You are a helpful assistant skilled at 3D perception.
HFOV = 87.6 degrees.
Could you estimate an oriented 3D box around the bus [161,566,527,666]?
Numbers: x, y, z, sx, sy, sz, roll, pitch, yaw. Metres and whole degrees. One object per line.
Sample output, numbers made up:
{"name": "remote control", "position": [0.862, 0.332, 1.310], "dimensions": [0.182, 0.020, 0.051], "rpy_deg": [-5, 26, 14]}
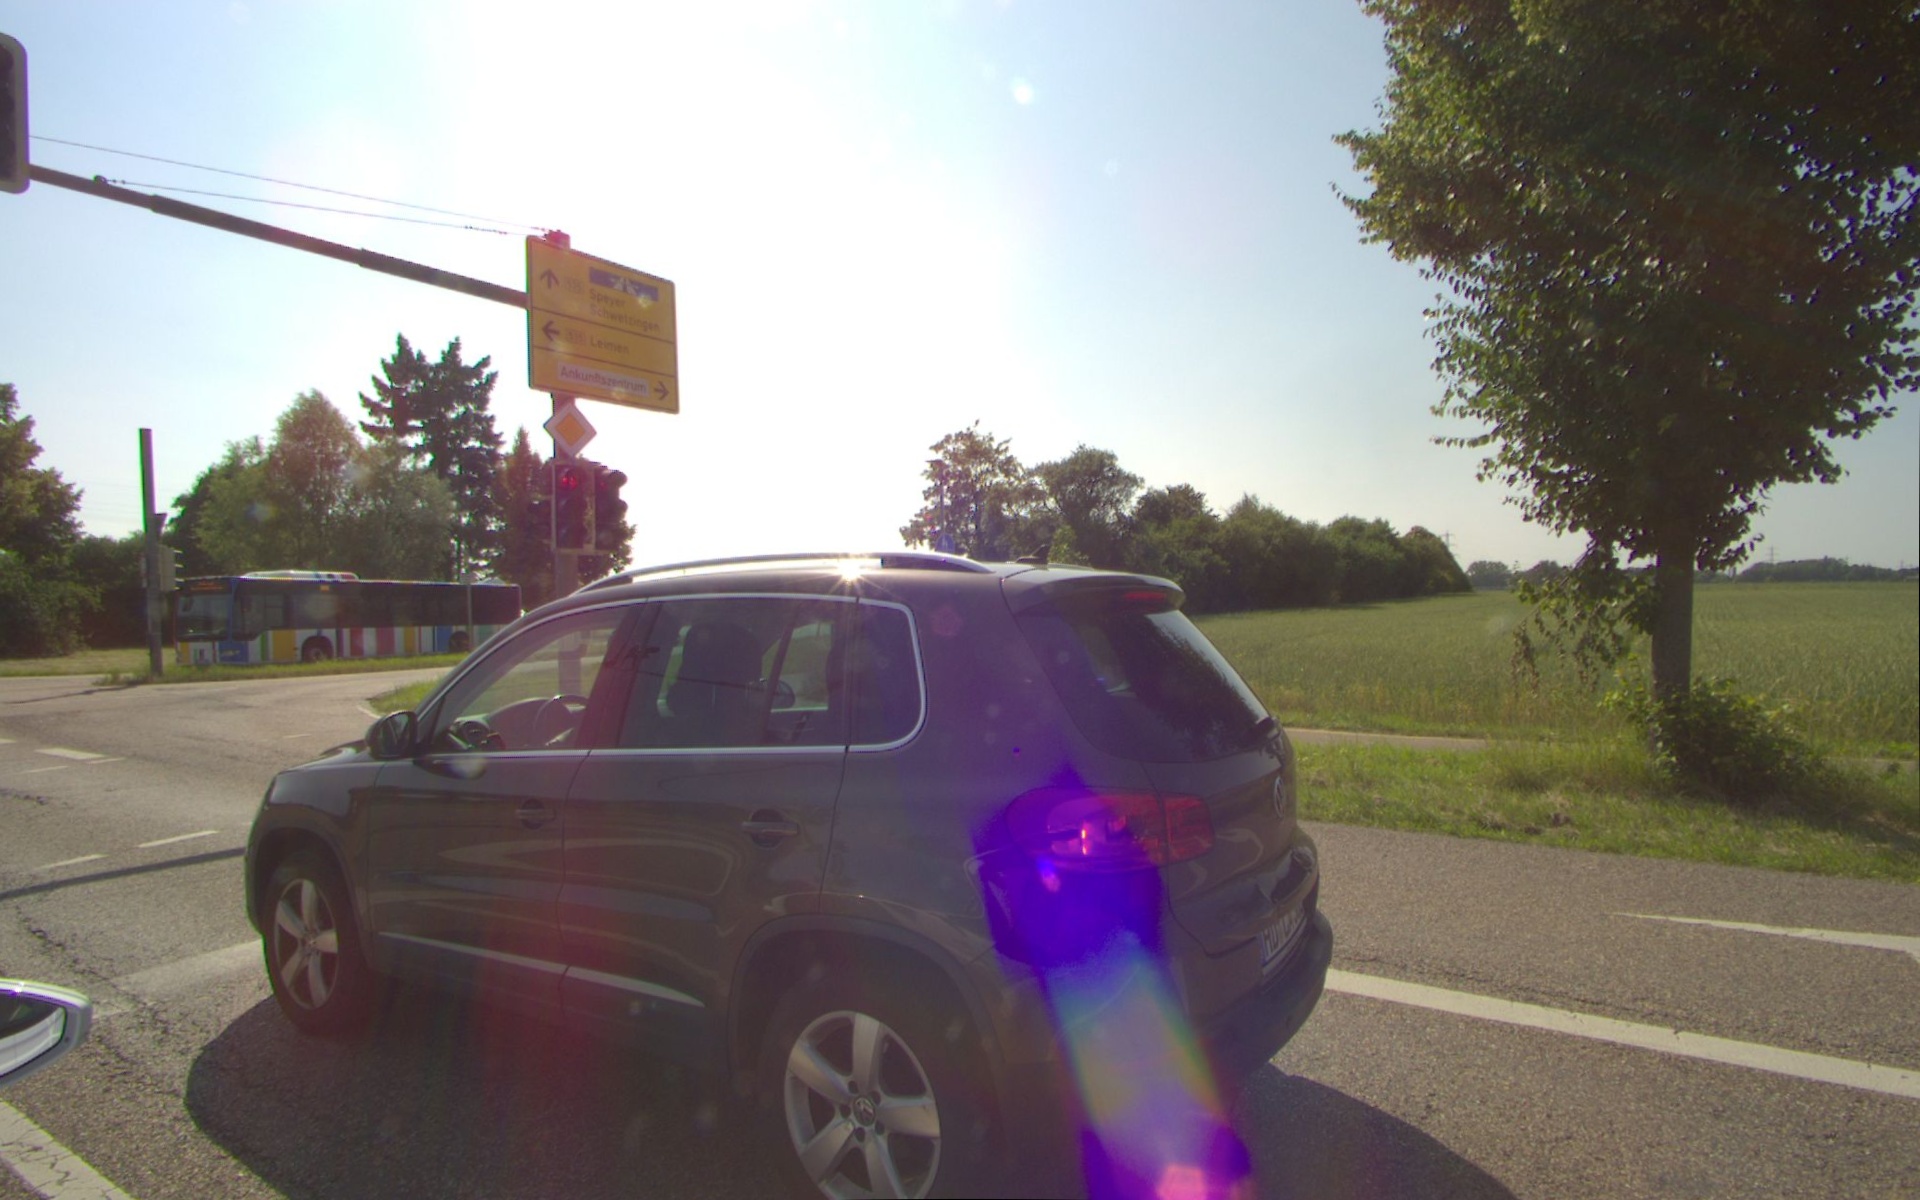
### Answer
{"name": "bus", "position": [-20.639, 0.416, 35.150], "dimensions": [2.889, 2.916, 11.955], "rpy_deg": [-1, 0, 17]}

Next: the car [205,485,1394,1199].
{"name": "car", "position": [-0.768, 0.688, 3.604], "dimensions": [4.086, 1.677, 1.753], "rpy_deg": [-1, -2, 32]}
